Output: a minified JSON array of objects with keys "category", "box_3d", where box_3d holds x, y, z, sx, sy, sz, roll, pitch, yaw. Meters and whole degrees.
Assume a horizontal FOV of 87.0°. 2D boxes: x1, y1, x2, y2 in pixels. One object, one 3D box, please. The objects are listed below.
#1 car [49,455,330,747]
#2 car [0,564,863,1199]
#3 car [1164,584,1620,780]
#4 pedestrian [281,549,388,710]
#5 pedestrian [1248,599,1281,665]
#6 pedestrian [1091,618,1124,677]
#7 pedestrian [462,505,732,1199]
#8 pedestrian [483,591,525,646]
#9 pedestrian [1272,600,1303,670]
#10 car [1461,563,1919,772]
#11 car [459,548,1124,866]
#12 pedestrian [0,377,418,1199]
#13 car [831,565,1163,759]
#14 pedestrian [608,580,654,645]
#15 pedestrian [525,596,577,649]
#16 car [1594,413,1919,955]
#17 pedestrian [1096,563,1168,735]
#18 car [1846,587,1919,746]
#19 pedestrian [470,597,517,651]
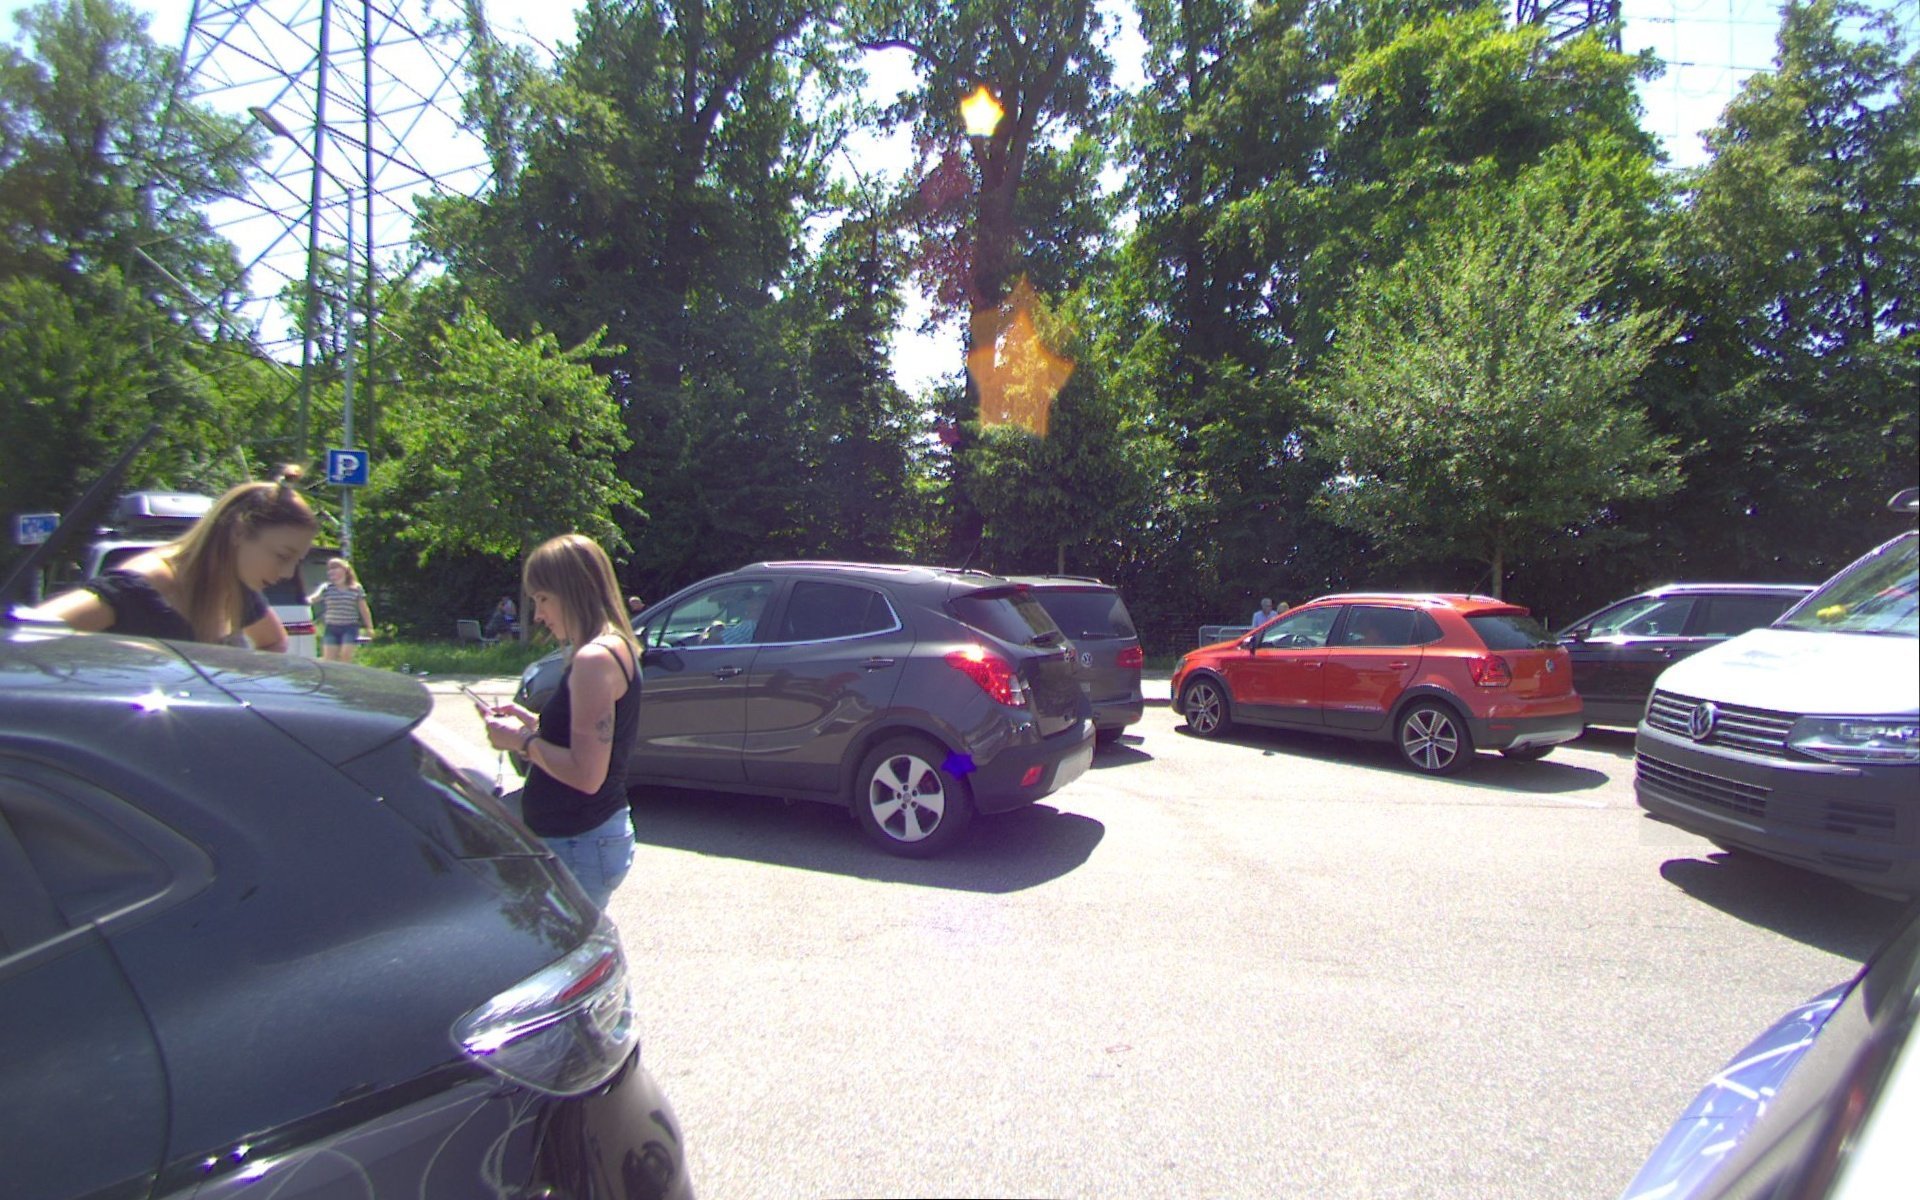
[{"category":"car","box_3d":[-8.376,0.000,10.791,1.897,2.400,4.963,1,-1,-43]},{"category":"car","box_3d":[-2.028,0.716,0.793,1.776,1.476,3.627,0,1,44]},{"category":"car","box_3d":[3.880,0.617,9.665,1.588,1.485,3.751,1,0,-34]},{"category":"pedestrian","box_3d":[-7.691,0.346,12.468,0.767,1.903,0.834,0,0,22]},{"category":"pedestrian","box_3d":[5.744,0.593,19.084,0.433,1.207,0.414,0,0,-30]},{"category":"pedestrian","box_3d":[2.296,0.730,15.764,0.494,0.890,0.512,0,-1,10]},{"category":"pedestrian","box_3d":[-0.940,0.592,2.619,0.477,1.614,0.502,1,-1,-44]},{"category":"pedestrian","box_3d":[-11.071,0.433,24.562,0.539,1.318,0.758,0,0,37]},{"category":"pedestrian","box_3d":[5.776,0.604,17.853,0.348,1.207,0.367,0,0,-20]},{"category":"car","box_3d":[7.160,0.529,9.728,1.679,1.637,3.863,1,0,-40]},{"category":"car","box_3d":[-1.124,0.532,6.861,4.119,1.637,1.824,1,0,23]},{"category":"pedestrian","box_3d":[-1.782,0.499,2.478,0.477,1.883,0.914,1,-1,-7]},{"category":"car","box_3d":[0.183,0.509,10.636,1.670,1.637,3.912,0,0,-30]},{"category":"pedestrian","box_3d":[-6.933,0.251,21.353,0.539,1.354,0.758,0,0,37]},{"category":"pedestrian","box_3d":[-9.553,0.500,23.636,0.810,1.201,0.836,0,0,40]},{"category":"car","box_3d":[6.272,0.349,4.708,5.336,2.131,1.842,1,1,4]},{"category":"pedestrian","box_3d":[1.793,0.489,10.581,0.576,1.744,0.483,0,0,-20]},{"category":"car","box_3d":[10.428,0.637,8.832,1.813,1.473,3.776,1,0,-36]},{"category":"pedestrian","box_3d":[-10.470,0.517,22.713,0.785,1.178,0.696,0,0,39]}]
